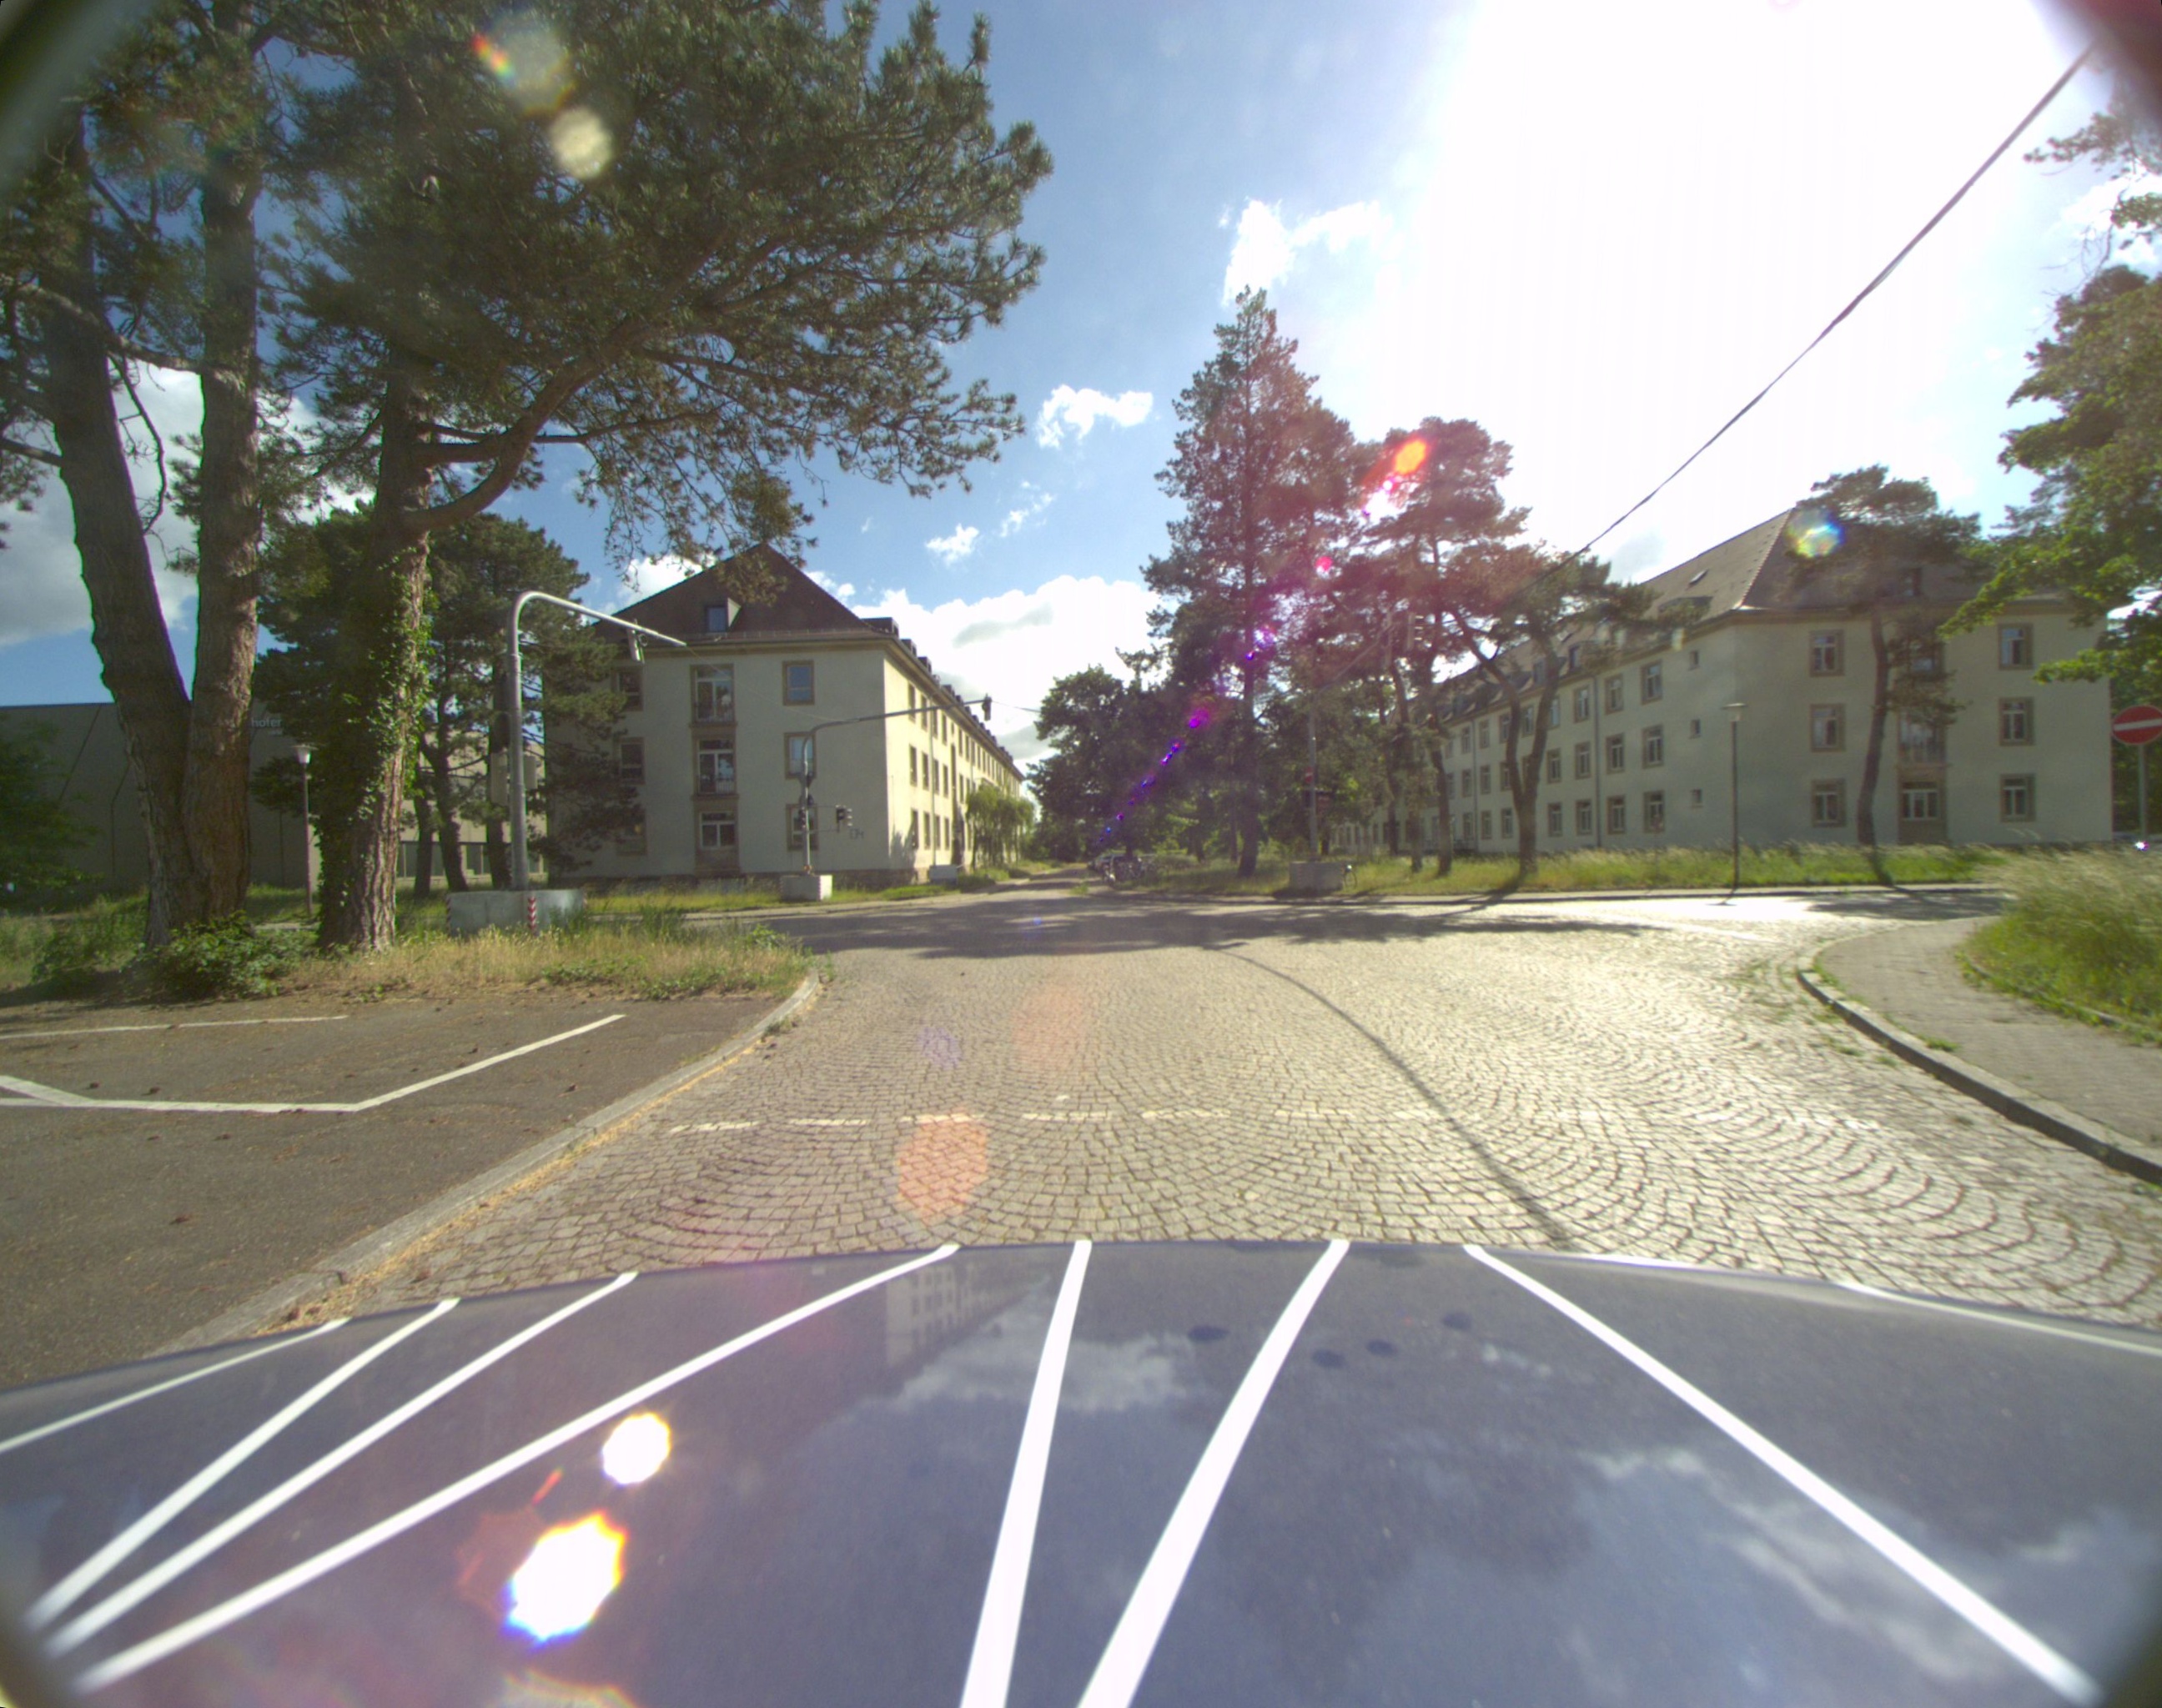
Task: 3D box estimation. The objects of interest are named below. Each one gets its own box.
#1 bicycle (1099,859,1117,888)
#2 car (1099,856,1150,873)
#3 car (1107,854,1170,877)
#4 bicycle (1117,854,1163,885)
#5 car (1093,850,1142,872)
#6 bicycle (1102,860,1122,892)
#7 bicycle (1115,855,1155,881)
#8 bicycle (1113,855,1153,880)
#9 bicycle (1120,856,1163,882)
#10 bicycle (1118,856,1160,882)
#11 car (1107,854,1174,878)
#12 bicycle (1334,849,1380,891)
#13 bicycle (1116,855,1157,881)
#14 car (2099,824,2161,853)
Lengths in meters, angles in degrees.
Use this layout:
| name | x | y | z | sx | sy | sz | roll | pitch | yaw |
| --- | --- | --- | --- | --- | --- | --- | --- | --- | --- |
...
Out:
| name | x | y | z | sx | sy | sz | roll | pitch | yaw |
| --- | --- | --- | --- | --- | --- | --- | --- | --- | --- |
| bicycle | 1.281 | 0.903 | 36.476 | 0.621 | 1.276 | 2.114 | -3 | 1 | -3 |
| car | 3.674 | 0.849 | 64.190 | 4.044 | 1.355 | 1.817 | -1 | 1 | -5 |
| car | 3.920 | 0.764 | 52.445 | 4.044 | 1.514 | 1.817 | -1 | 1 | -7 |
| bicycle | 2.901 | 0.769 | 37.607 | 2.113 | 1.276 | 0.621 | -7 | 1 | -1 |
| car | 3.345 | 0.590 | 69.815 | 4.226 | 1.903 | 1.816 | -1 | 1 | -9 |
| bicycle | 1.396 | 0.958 | 34.299 | 0.621 | 1.342 | 2.114 | -3 | 1 | -3 |
| bicycle | 2.995 | 0.771 | 42.434 | 2.114 | 1.276 | 0.621 | -3 | 1 | -3 |
| bicycle | 2.949 | 0.773 | 43.278 | 2.114 | 1.276 | 0.621 | -3 | 1 | -3 |
| bicycle | 3.178 | 0.778 | 39.854 | 2.114 | 1.276 | 0.621 | -3 | 1 | -5 |
| bicycle | 3.079 | 0.785 | 40.684 | 2.114 | 1.276 | 0.621 | -3 | 1 | -4 |
| car | 3.816 | 0.761 | 49.422 | 4.044 | 1.493 | 1.817 | -1 | 1 | -7 |
| bicycle | 9.016 | 0.514 | 24.908 | 0.621 | 1.276 | 2.115 | -4 | 0 | 0 |
| bicycle | 3.026 | 0.777 | 41.530 | 2.114 | 1.276 | 0.621 | -3 | 1 | -3 |
| car | 59.290 | -0.880 | 41.712 | 4.103 | 1.571 | 1.721 | -1 | 1 | 6 |
